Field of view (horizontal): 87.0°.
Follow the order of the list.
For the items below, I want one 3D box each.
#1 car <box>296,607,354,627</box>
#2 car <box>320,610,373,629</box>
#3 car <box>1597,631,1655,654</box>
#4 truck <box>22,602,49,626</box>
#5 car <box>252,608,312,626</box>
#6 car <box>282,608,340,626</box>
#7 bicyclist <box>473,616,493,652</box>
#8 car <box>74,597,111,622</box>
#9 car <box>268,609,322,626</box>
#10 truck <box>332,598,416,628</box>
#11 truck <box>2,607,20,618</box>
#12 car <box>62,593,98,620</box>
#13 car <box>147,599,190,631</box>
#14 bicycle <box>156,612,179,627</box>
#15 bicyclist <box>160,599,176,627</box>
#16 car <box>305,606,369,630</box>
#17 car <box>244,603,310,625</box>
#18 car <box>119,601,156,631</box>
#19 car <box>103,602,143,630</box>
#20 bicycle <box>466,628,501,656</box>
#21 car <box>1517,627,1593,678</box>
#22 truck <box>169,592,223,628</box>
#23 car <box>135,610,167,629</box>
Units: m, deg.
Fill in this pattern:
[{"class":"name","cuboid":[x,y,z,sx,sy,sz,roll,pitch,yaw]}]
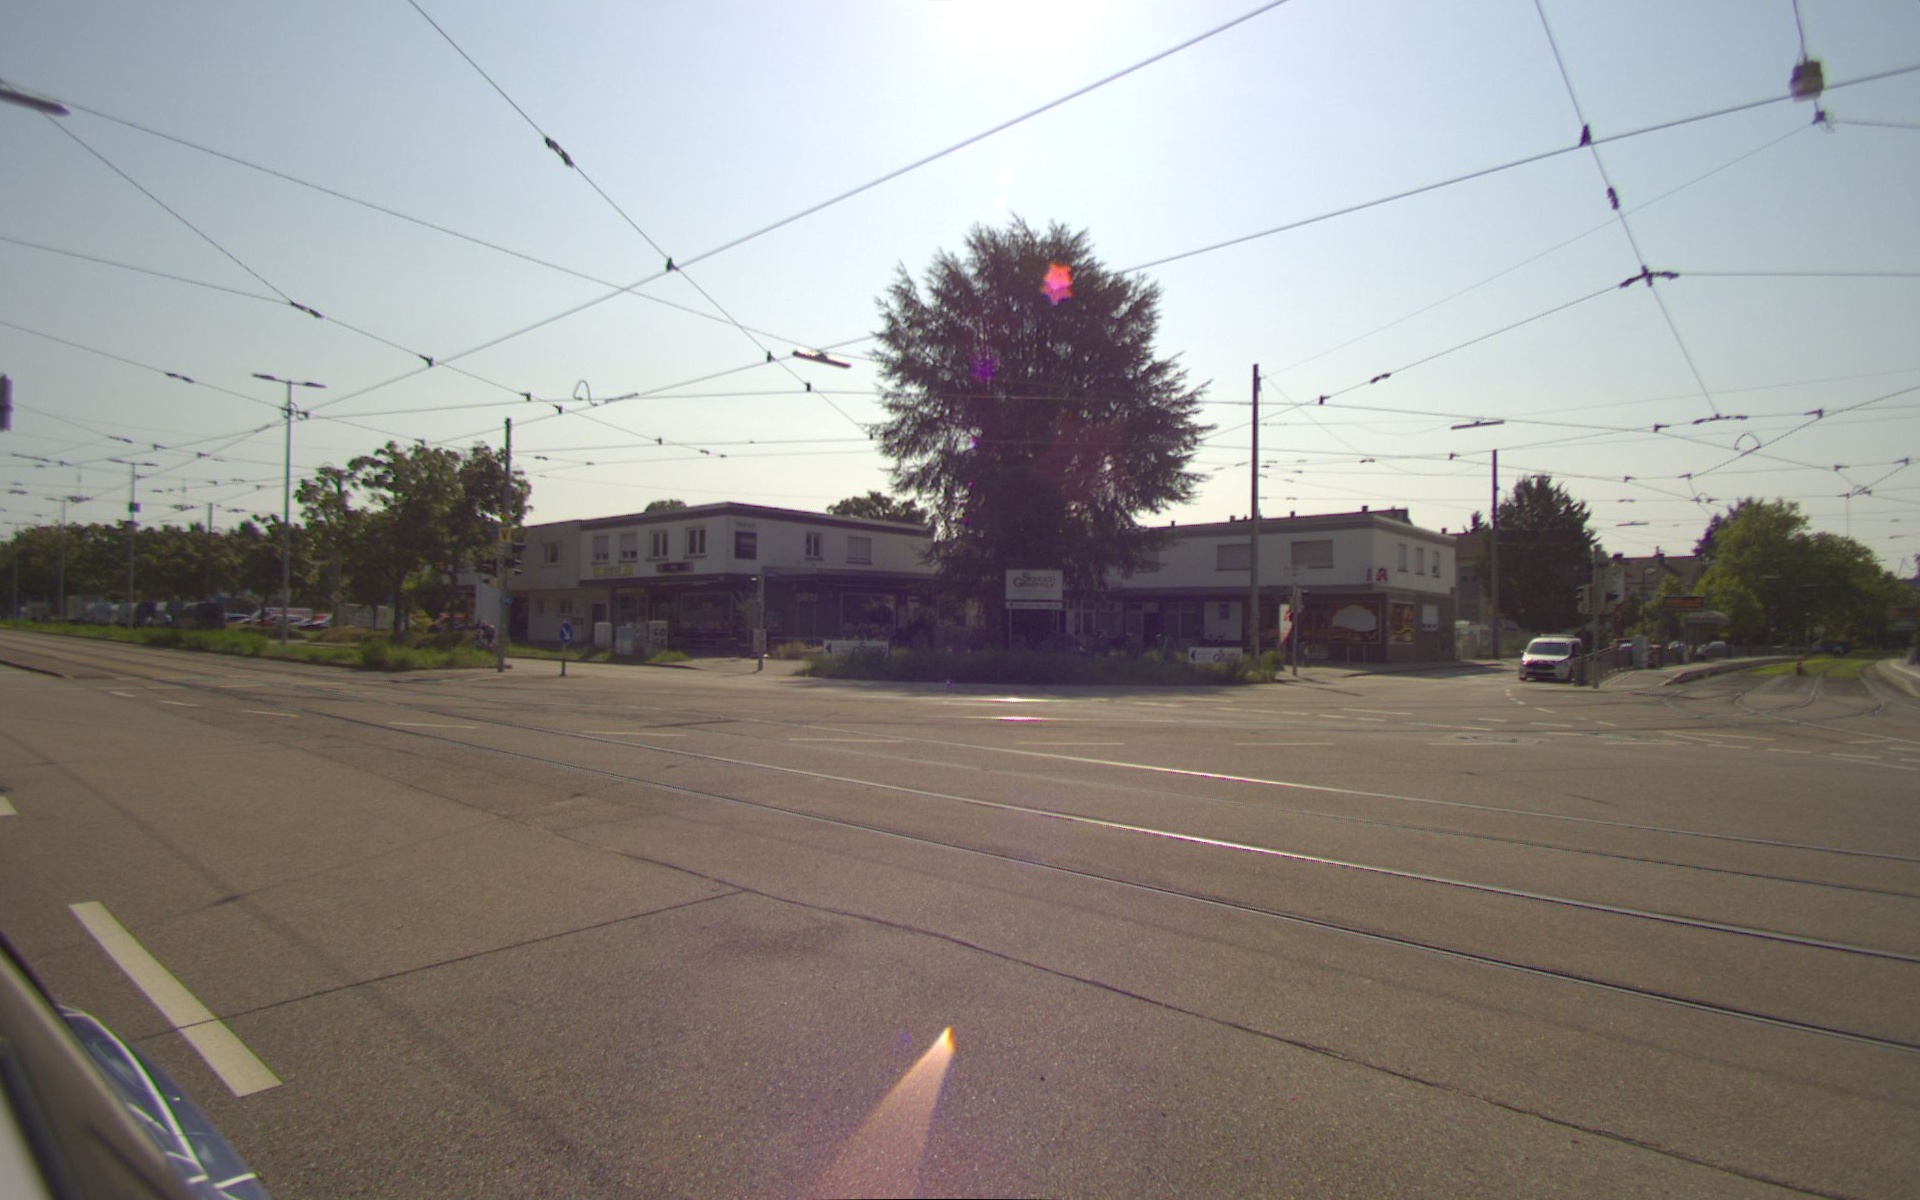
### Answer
[{"class":"car","cuboid":[-55.755,1.519,88.894,1.632,1.530,3.883,0,-3,40]},{"class":"car","cuboid":[-51.444,1.613,84.893,1.632,1.437,3.369,0,-3,40]},{"class":"car","cuboid":[58.273,3.703,88.527,3.998,1.785,1.972,0,-3,41]},{"class":"truck","cuboid":[-131.110,1.986,143.506,8.790,3.145,2.247,0,-4,45]},{"class":"car","cuboid":[-66.962,1.684,100.068,1.632,1.461,4.605,0,-3,40]},{"class":"car","cuboid":[-58.857,1.543,91.868,1.622,1.474,4.117,0,-3,37]},{"class":"bicyclist","cuboid":[-20.691,1.459,43.878,0.490,1.534,0.562,0,-4,43]},{"class":"car","cuboid":[-92.251,1.012,107.622,4.829,2.477,2.120,0,-3,41]},{"class":"car","cuboid":[-63.196,1.659,96.200,1.632,1.461,3.883,0,-3,40]},{"class":"truck","cuboid":[-47.721,1.070,82.504,2.258,2.189,5.433,0,-3,40]},{"class":"truck","cuboid":[-153.665,1.985,163.874,3.655,1.687,1.669,0,-4,42]},{"class":"car","cuboid":[-99.253,0.765,114.116,7.230,2.826,2.101,0,-4,42]},{"class":"car","cuboid":[-66.167,1.248,84.540,6.468,2.606,1.966,0,-1,44]},{"class":"bicycle","cuboid":[-59.386,1.450,75.834,2.260,1.099,0.709,0,-3,35]},{"class":"bicyclist","cuboid":[-59.345,0.980,75.812,0.773,2.080,0.631,0,-3,36]},{"class":"car","cuboid":[-53.695,1.564,87.281,1.632,1.798,4.353,0,-3,40]},{"class":"car","cuboid":[-68.990,1.413,102.294,2.051,1.940,5.131,0,-3,40]},{"class":"car","cuboid":[-75.370,1.464,92.730,5.910,2.606,1.802,-1,-1,43]},{"class":"car","cuboid":[-81.315,1.531,98.300,5.630,2.606,2.109,0,-4,42]},{"class":"bicycle","cuboid":[-20.644,1.815,43.812,2.208,1.189,0.568,-3,-5,44]},{"class":"car","cuboid":[23.996,2.059,40.748,1.824,1.901,3.969,-1,-2,43]},{"class":"truck","cuboid":[-58.830,0.772,77.863,5.737,2.567,2.059,0,-3,41]},{"class":"car","cuboid":[-70.985,1.705,88.736,3.835,1.564,1.725,0,-1,44]}]
